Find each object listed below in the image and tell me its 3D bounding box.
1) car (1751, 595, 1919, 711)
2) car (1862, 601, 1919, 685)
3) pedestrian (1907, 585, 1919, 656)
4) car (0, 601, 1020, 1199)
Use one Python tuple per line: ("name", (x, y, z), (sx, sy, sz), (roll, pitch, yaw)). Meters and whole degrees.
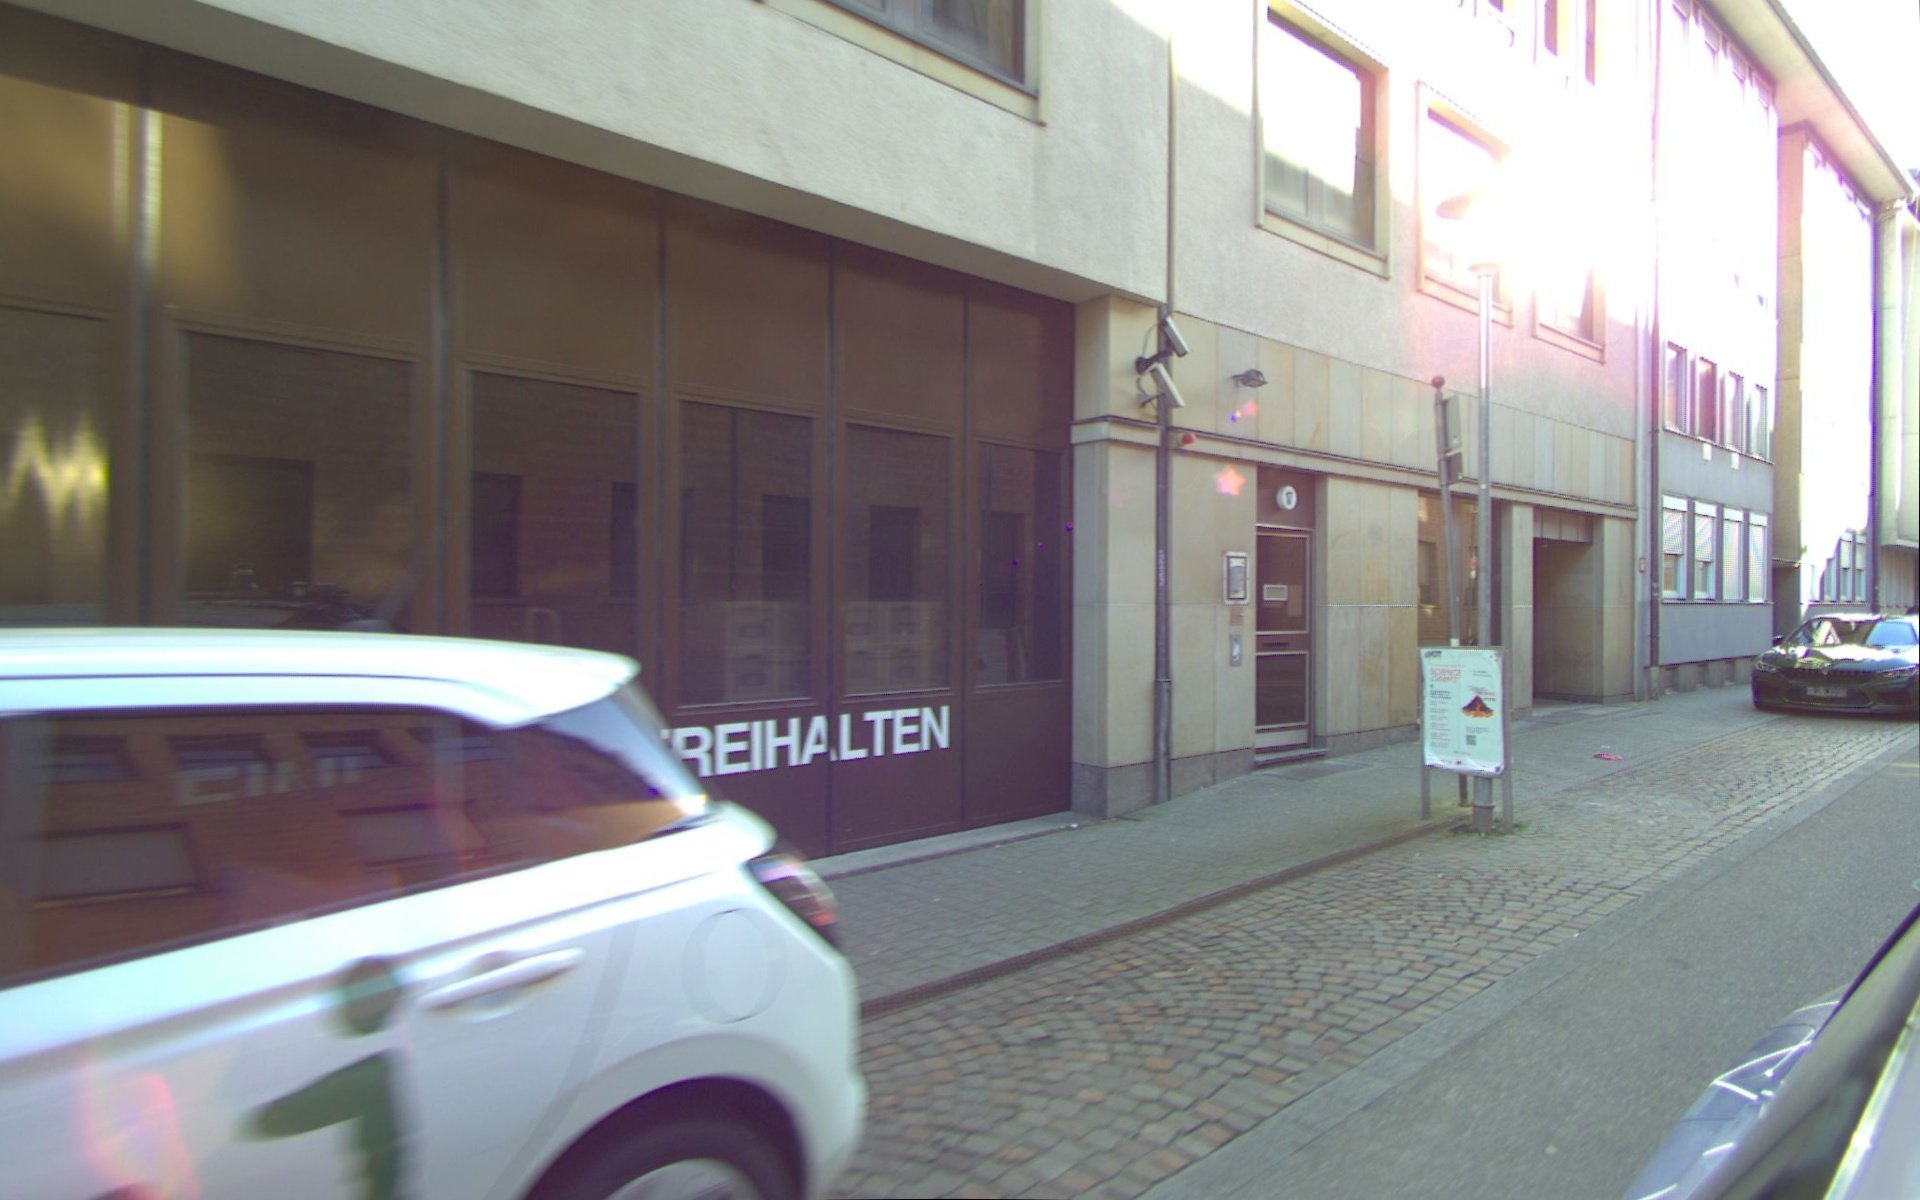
("car", (13.741, 0.685, 15.104), (5.130, 1.472, 1.898), (0, -1, -39))
("car", (18.418, 0.734, 18.739), (4.704, 1.431, 1.811), (0, -2, -39))
("pedestrian", (24.182, 0.518, 25.152), (0.733, 1.742, 0.791), (1, 2, -38))
("car", (-1.989, 0.778, 1.580), (4.097, 1.497, 1.842), (0, -2, -43))
